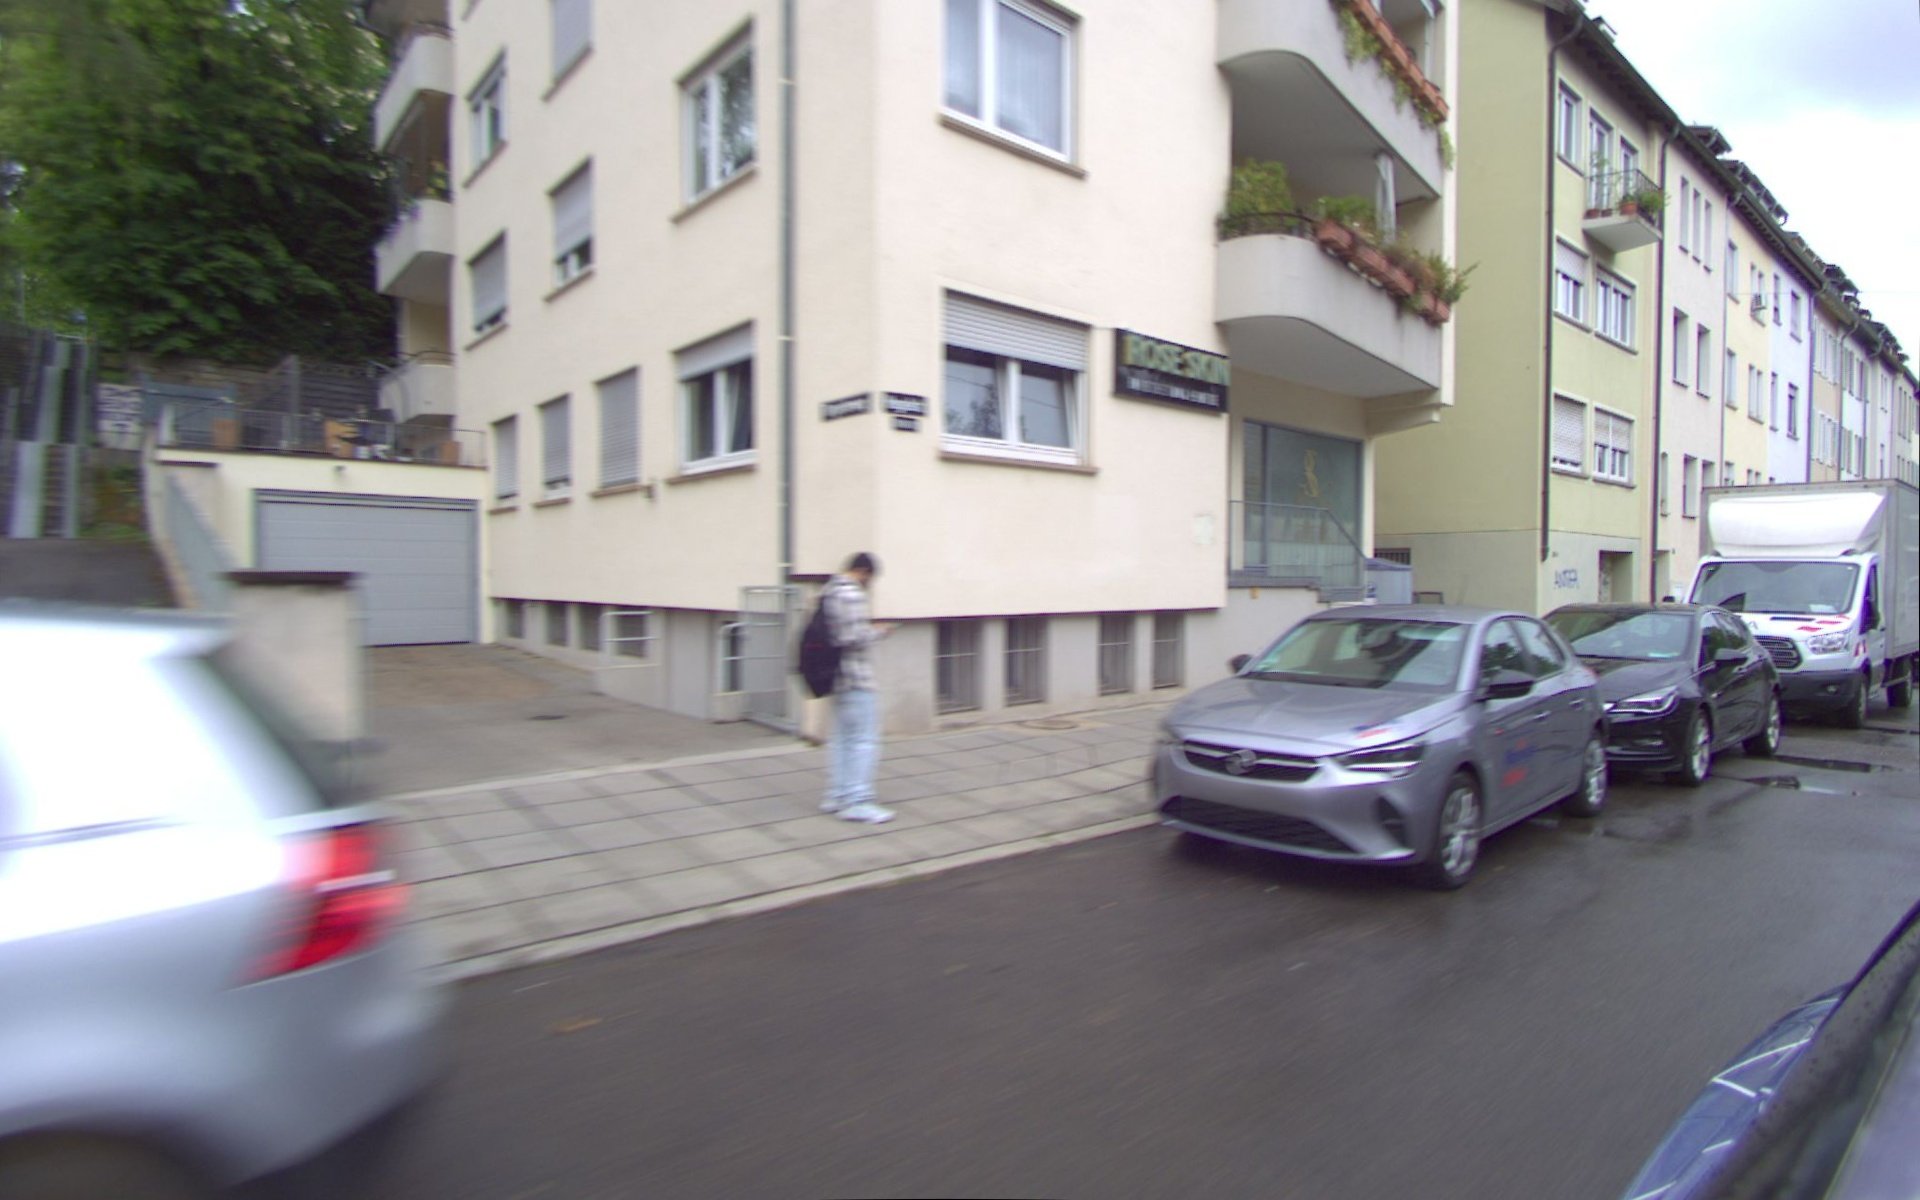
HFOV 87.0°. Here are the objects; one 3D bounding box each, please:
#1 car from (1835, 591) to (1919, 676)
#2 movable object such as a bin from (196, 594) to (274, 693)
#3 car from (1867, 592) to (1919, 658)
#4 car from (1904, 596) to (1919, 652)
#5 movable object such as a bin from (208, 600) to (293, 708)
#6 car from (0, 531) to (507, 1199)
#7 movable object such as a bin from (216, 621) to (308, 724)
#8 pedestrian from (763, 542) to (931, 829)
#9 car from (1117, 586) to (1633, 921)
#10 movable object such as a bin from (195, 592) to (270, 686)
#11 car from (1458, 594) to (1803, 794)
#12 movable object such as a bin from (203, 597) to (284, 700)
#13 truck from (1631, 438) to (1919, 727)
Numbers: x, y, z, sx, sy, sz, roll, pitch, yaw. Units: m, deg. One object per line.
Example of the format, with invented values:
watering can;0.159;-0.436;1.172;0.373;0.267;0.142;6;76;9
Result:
car;19.433;0.645;20.782;4.026;1.593;1.666;0;1;-41
movable object such as a bin;-8.262;0.475;11.532;0.655;1.053;0.578;-1;3;-44
car;23.659;0.591;24.769;4.026;1.518;1.666;0;1;-41
car;27.303;0.663;27.862;3.440;1.489;1.580;0;1;-41
movable object such as a bin;-7.449;0.547;10.630;0.655;1.053;0.578;-1;3;-44
car;-2.852;0.650;1.280;3.854;1.521;1.666;0;1;-42
movable object such as a bin;-6.848;0.688;9.925;0.642;0.888;0.742;-1;3;-43
pedestrian;-0.708;0.484;6.273;0.730;1.622;0.667;1;4;-36
car;2.838;0.657;6.469;3.857;1.438;1.665;-2;2;-44
movable object such as a bin;-8.612;0.443;11.985;0.655;1.053;0.523;-1;3;-44
car;6.335;0.696;9.389;3.971;1.439;1.666;0;1;-41
movable object such as a bin;-7.847;0.510;11.084;0.655;1.053;0.578;-1;3;-44
truck;12.171;-0.236;14.471;6.912;3.212;2.474;0;1;-41
